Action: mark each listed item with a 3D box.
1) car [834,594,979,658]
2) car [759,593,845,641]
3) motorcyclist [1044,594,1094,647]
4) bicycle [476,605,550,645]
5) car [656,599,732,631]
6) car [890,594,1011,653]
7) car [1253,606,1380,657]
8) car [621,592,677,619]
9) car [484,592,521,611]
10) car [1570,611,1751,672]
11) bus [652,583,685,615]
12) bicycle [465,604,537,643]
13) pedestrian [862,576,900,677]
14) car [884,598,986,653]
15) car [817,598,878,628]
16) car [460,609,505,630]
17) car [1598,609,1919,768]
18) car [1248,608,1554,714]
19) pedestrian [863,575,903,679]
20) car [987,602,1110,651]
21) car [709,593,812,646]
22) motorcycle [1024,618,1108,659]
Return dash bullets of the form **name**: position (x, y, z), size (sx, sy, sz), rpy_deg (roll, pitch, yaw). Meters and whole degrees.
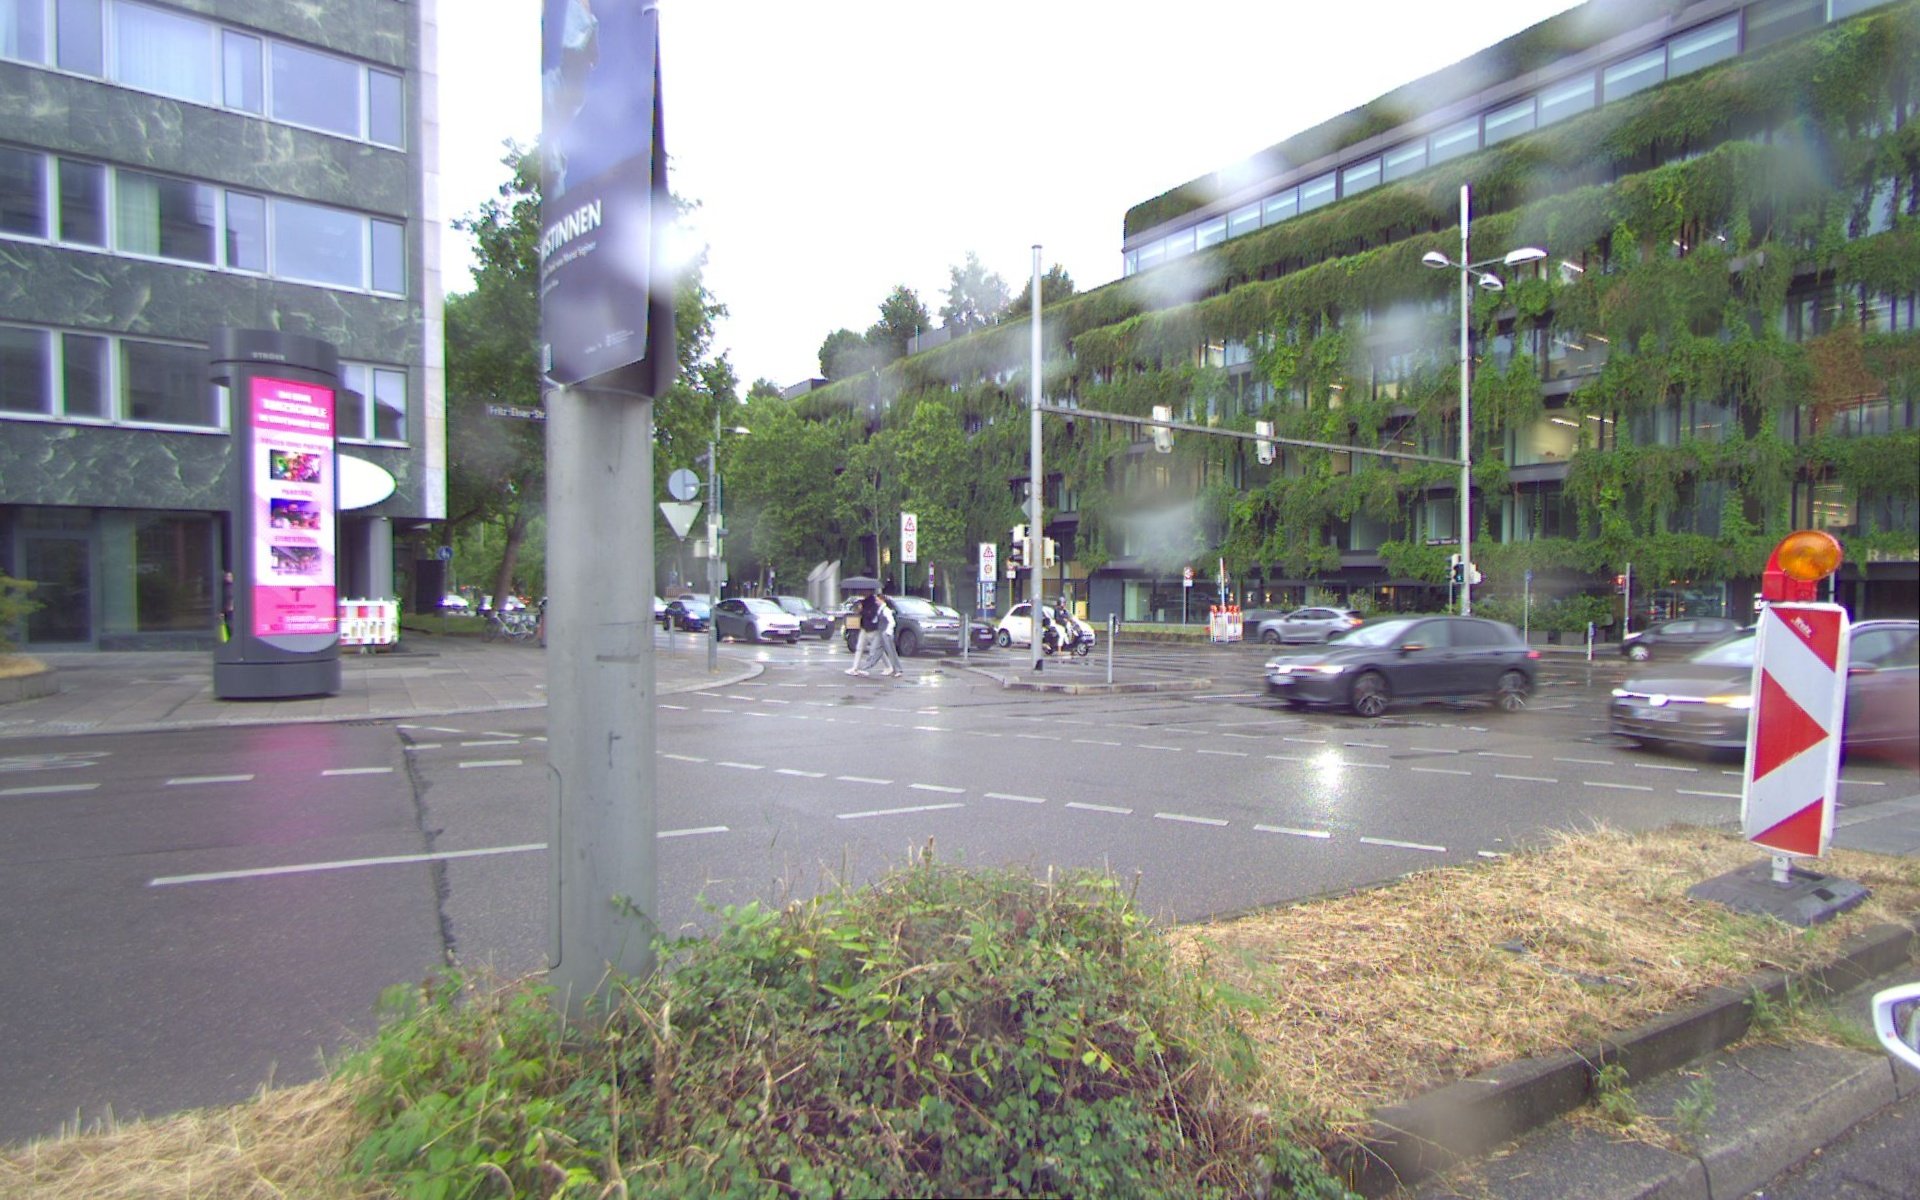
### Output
- **car**: position (-1.634, 0.701, 29.194), size (1.984, 1.709, 4.314), rpy_deg (1, 0, -41)
- **car**: position (-6.285, 0.641, 39.663), size (1.841, 1.791, 4.139), rpy_deg (1, 0, -32)
- **motorcyclist**: position (3.141, 0.580, 28.987), size (1.153, 1.492, 0.832), rpy_deg (2, 0, 40)
- **bicycle**: position (-12.291, 0.679, 27.627), size (1.765, 1.066, 0.581), rpy_deg (1, 0, -35)
- **car**: position (-12.474, 0.684, 46.952), size (1.982, 1.389, 4.131), rpy_deg (1, 0, -37)
- **car**: position (-0.365, 0.709, 32.514), size (1.981, 1.773, 3.958), rpy_deg (1, 0, -37)
- **car**: position (12.979, 1.117, 36.687), size (1.840, 1.692, 3.946), rpy_deg (2, 0, -45)
- **car**: position (-18.678, 0.335, 60.202), size (1.918, 1.544, 4.057), rpy_deg (1, 0, -38)
- **car**: position (-39.111, 0.104, 85.804), size (1.919, 1.544, 4.054), rpy_deg (1, 0, -40)
- **car**: position (22.026, 1.257, 31.717), size (1.985, 1.660, 4.363), rpy_deg (2, 0, -42)
- **bus**: position (-32.017, -0.146, 110.226), size (1.783, 3.385, 5.922), rpy_deg (2, 0, -34)
- **bicycle**: position (-12.969, 0.664, 28.405), size (1.765, 1.066, 0.581), rpy_deg (1, 0, -35)
- **pedestrian**: position (-1.633, 0.540, 20.739), size (0.715, 2.040, 0.598), rpy_deg (1, 0, -10)
- **car**: position (-1.004, 0.913, 37.758), size (1.978, 1.923, 4.139), rpy_deg (1, 0, -33)
- **car**: position (-6.618, 0.731, 58.824), size (1.834, 1.692, 3.958), rpy_deg (1, 0, -37)
- **car**: position (-32.613, 1.315, 68.515), size (1.982, 1.389, 4.131), rpy_deg (1, 0, -37)
- **car**: position (9.537, 0.901, 11.140), size (4.217, 1.530, 1.688), rpy_deg (1, 0, -13)
- **car**: position (6.654, 0.909, 15.220), size (4.146, 1.450, 1.687), rpy_deg (2, 0, -17)
- **pedestrian**: position (-1.541, 0.540, 20.105), size (0.715, 2.040, 0.598), rpy_deg (1, 0, -10)
- **car**: position (2.879, 0.856, 33.460), size (1.981, 1.495, 3.958), rpy_deg (1, 0, -37)
- **car**: position (-7.056, 0.651, 35.343), size (1.982, 1.773, 3.956), rpy_deg (1, 0, -38)
- **motorcycle**: position (3.042, 1.086, 29.062), size (2.331, 1.068, 0.830), rpy_deg (2, 0, 41)
